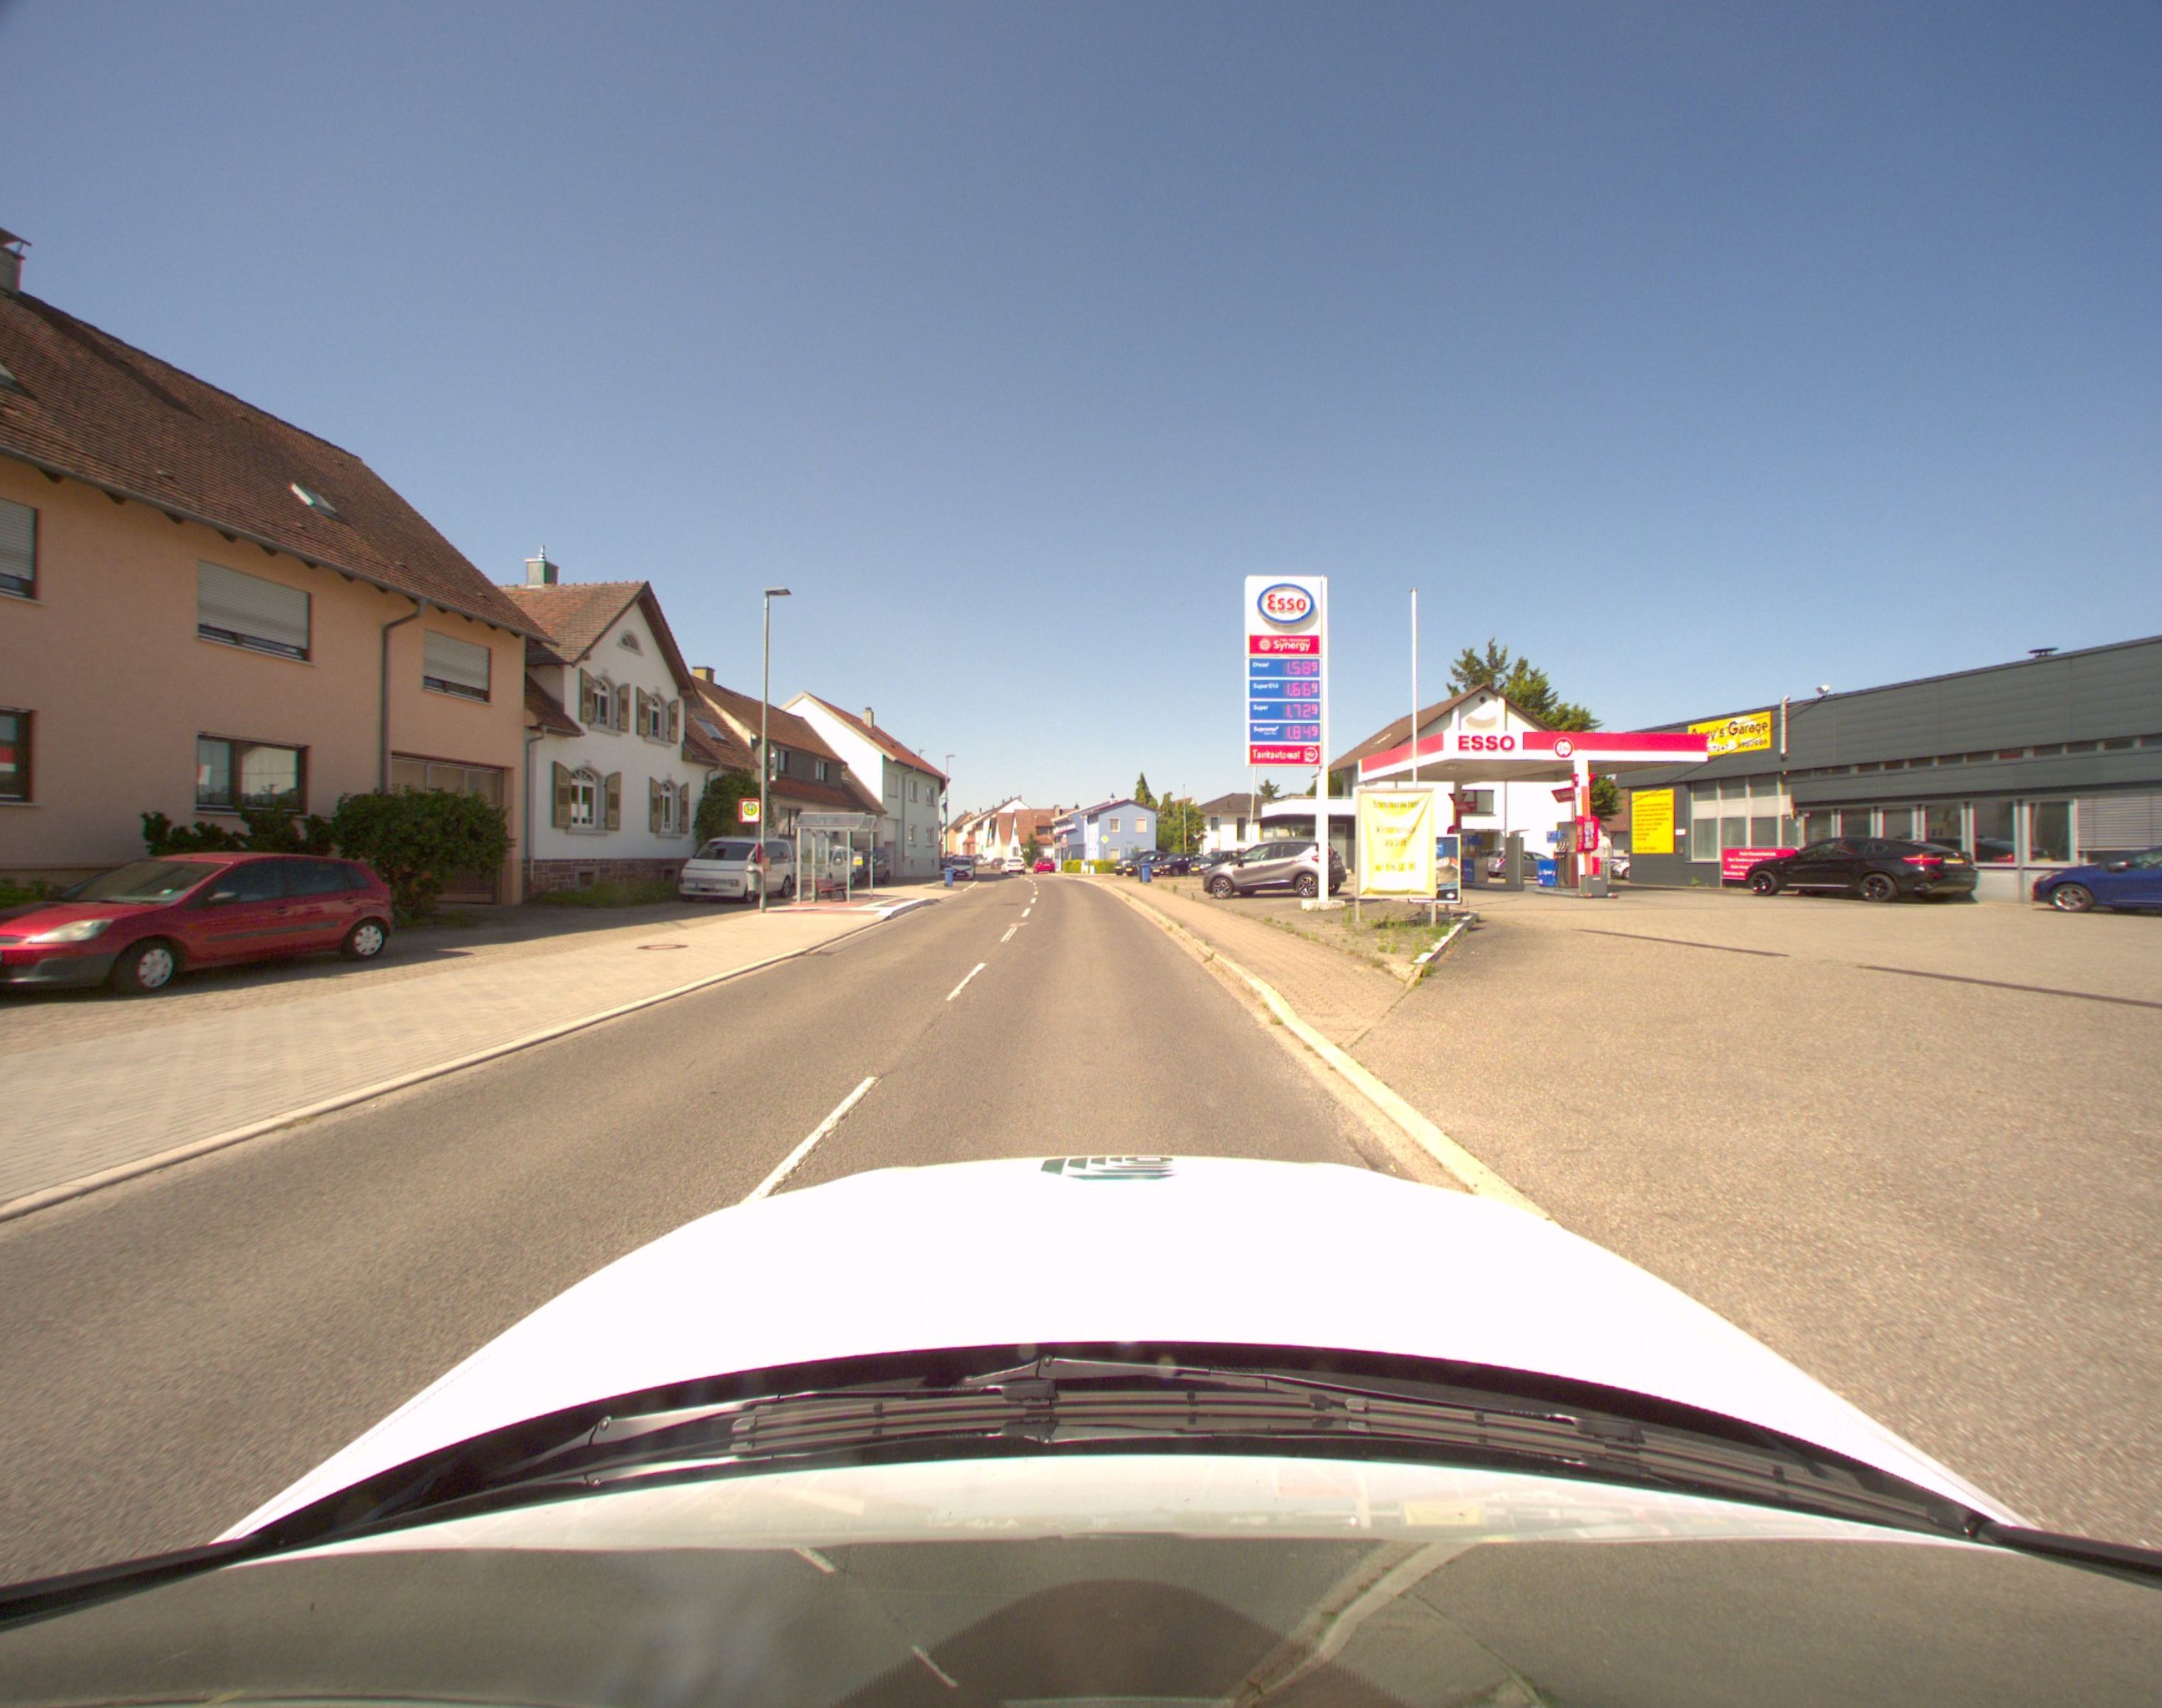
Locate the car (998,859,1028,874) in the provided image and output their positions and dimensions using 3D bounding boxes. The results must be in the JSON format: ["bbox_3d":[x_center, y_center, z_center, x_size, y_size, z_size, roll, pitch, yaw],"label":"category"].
[{"bbox_3d":[-6.184,1.121,73.760,1.997,1.288,3.979,-1,-1,-16],"label":"car"}]

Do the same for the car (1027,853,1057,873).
[{"bbox_3d":[-3.621,0.760,75.251,1.737,1.494,4.331,-2,4,-17],"label":"car"}]

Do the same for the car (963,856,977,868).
[{"bbox_3d":[-17.322,1.224,127.034,1.653,1.910,3.606,1,-1,-16],"label":"car"}]

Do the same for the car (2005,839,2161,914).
[{"bbox_3d":[21.641,0.427,16.120,1.793,1.432,4.113,-1,-1,-10],"label":"car"}]

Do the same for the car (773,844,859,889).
[{"bbox_3d":[-11.005,0.509,34.159,1.959,1.774,4.281,0,-1,4],"label":"car"}]

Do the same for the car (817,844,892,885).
[{"bbox_3d":[-10.724,0.477,38.960,1.827,1.793,4.351,2,0,7],"label":"car"}]

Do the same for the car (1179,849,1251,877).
[{"bbox_3d":[7.958,0.533,48.027,4.342,1.550,1.960,-1,0,-43],"label":"car"}]

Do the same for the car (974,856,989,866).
[{"bbox_3d":[-15.006,1.004,122.320,1.708,1.497,3.433,1,-1,-16],"label":"car"}]

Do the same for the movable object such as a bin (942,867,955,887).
[{"bbox_3d":[-6.674,1.158,41.016,0.558,0.936,0.512,2,-1,-11],"label":"movable object such as a bin"}]

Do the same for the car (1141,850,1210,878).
[{"bbox_3d":[5.818,0.595,49.692,1.960,1.565,4.264,-1,0,45],"label":"car"}]

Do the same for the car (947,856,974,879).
[{"bbox_3d":[-7.919,0.863,53.700,1.682,1.462,3.639,0,-1,-8],"label":"car"}]

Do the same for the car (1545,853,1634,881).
[{"bbox_3d":[28.678,0.727,46.085,4.026,1.480,1.821,1,-1,23],"label":"car"}]

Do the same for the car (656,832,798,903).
[{"bbox_3d":[-10.812,0.414,25.420,2.119,1.986,5.263,0,-1,0],"label":"car"}]

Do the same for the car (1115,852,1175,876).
[{"bbox_3d":[4.103,0.649,52.013,1.729,1.447,3.896,-1,0,45],"label":"car"}]

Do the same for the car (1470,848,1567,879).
[{"bbox_3d":[22.143,0.487,41.306,4.055,1.480,1.808,-1,-1,-5],"label":"car"}]

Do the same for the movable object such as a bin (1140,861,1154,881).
[{"bbox_3d":[3.186,0.835,39.258,0.558,0.939,0.512,-1,0,-12],"label":"movable object such as a bin"}]

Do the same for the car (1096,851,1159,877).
[{"bbox_3d":[3.122,0.633,54.534,4.136,1.653,1.809,-1,0,-41],"label":"car"}]

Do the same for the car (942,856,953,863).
[{"bbox_3d":[-26.786,1.058,163.183,1.770,1.433,3.432,-1,-1,-15],"label":"car"}]

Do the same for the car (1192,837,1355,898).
[{"bbox_3d":[5.476,0.414,23.385,4.127,1.555,1.786,-3,-1,35],"label":"car"}]

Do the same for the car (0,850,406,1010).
[{"bbox_3d":[-10.517,0.709,9.670,1.709,1.453,3.915,1,1,0],"label":"car"}]

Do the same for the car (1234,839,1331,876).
[{"bbox_3d":[11.550,0.188,46.651,5.299,2.013,2.212,-1,0,-28],"label":"car"}]

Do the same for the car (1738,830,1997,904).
[{"bbox_3d":[20.532,0.264,21.616,1.805,1.741,4.801,0,1,-11],"label":"car"}]

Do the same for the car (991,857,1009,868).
[{"bbox_3d":[-10.604,1.117,106.279,1.708,1.433,3.868,1,-1,-16],"label":"car"}]

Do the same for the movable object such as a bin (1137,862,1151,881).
[{"bbox_3d":[3.096,0.843,39.794,0.558,0.936,0.512,-1,0,-12],"label":"movable object such as a bin"}]
